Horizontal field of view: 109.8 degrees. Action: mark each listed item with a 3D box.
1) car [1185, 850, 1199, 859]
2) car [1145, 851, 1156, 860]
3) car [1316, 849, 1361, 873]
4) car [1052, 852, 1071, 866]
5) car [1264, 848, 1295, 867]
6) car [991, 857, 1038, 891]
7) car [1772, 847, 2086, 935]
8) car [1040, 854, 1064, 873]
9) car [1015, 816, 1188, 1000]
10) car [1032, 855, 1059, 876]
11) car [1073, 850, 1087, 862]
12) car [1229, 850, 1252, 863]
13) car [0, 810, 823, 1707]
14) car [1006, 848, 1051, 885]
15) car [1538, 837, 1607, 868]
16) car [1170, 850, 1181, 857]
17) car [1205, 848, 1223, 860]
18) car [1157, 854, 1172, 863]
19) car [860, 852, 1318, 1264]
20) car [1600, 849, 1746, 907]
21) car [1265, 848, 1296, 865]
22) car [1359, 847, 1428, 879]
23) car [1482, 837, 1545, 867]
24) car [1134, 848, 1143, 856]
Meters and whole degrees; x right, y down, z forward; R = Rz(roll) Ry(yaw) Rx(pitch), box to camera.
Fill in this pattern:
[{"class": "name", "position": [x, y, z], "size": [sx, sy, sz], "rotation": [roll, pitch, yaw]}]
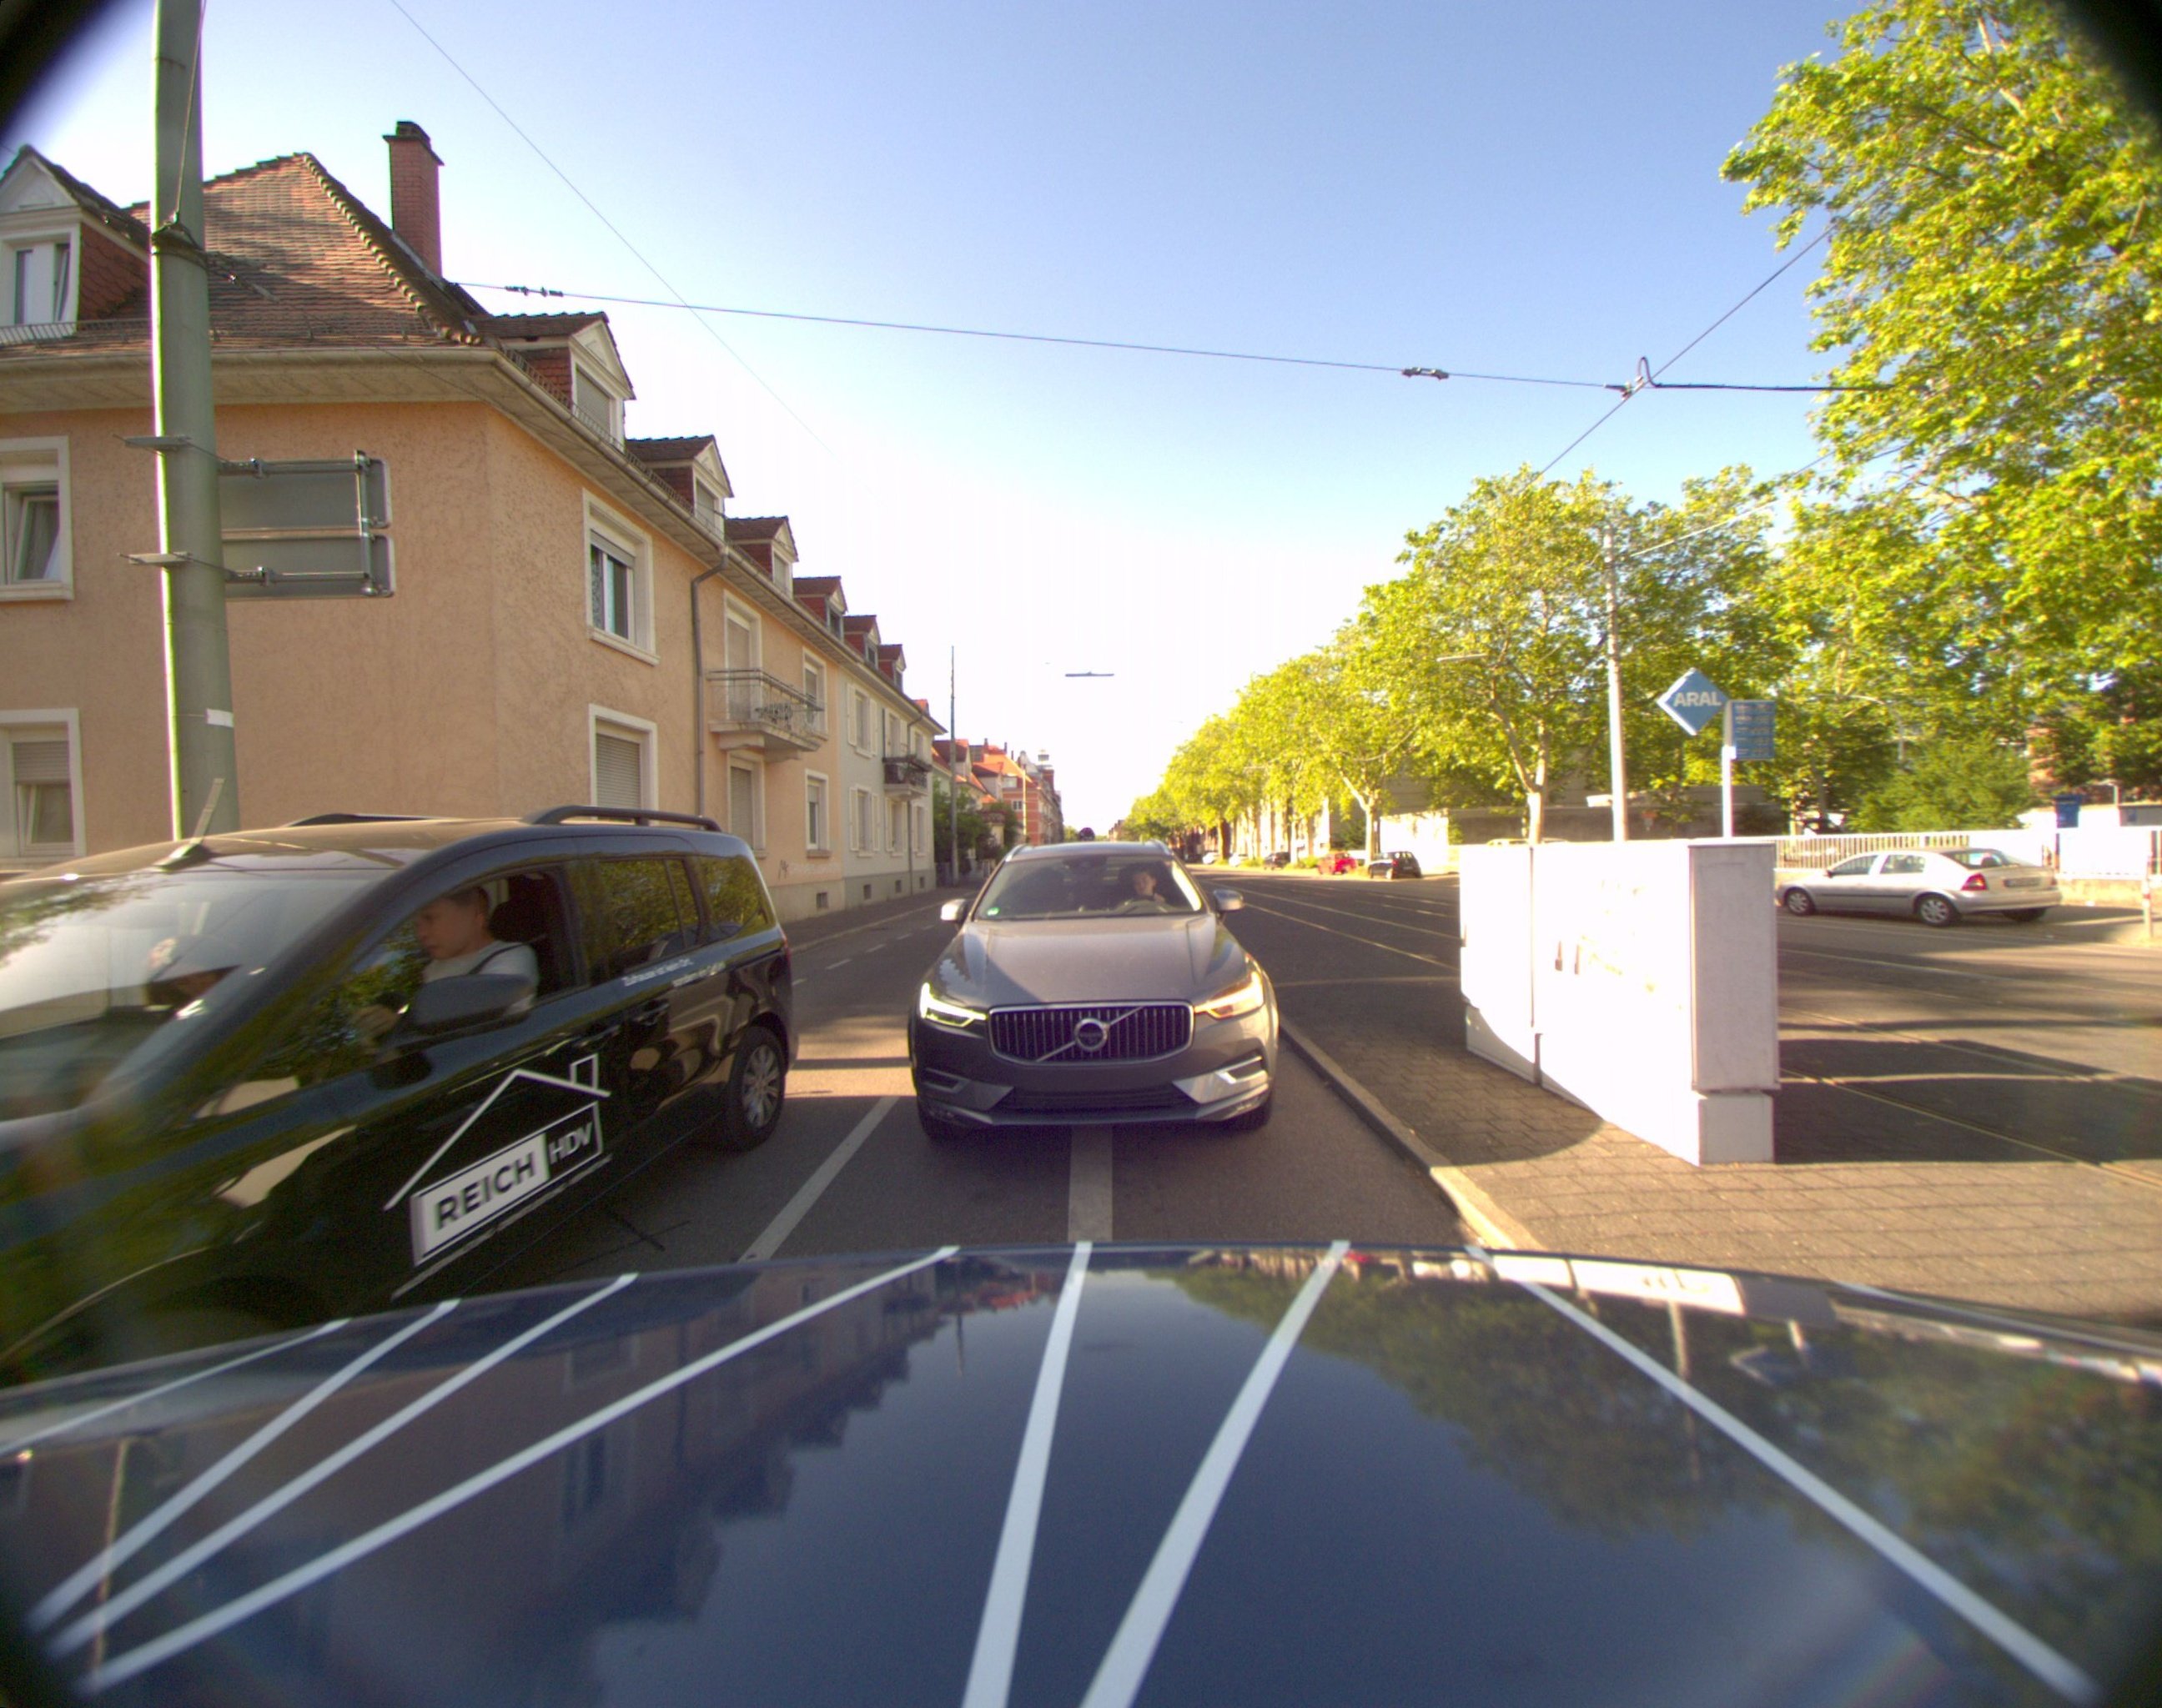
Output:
[{"class": "car", "position": [18.340, 0.021, 125.559], "size": [1.700, 1.401, 3.999], "rotation": [-1, 1, 1]}, {"class": "car", "position": [14.226, 0.257, 156.198], "size": [1.700, 1.412, 3.999], "rotation": [12, 1, 1]}, {"class": "car", "position": [17.002, 0.442, 50.354], "size": [1.700, 1.460, 3.999], "rotation": [-1, 1, 1]}, {"class": "car", "position": [-2.176, 0.582, 85.436], "size": [1.841, 1.449, 3.999], "rotation": [-2, 1, 1]}, {"class": "car", "position": [17.174, 0.318, 65.994], "size": [1.700, 1.566, 3.999], "rotation": [-1, 1, 1]}, {"class": "car", "position": [-3.185, 0.934, 36.949], "size": [1.841, 1.449, 3.999], "rotation": [-2, 1, 1]}, {"class": "car", "position": [16.266, 0.615, 14.939], "size": [1.731, 1.412, 3.999], "rotation": [-2, 1, 1]}, {"class": "car", "position": [-2.525, 0.802, 66.998], "size": [1.841, 1.449, 3.999], "rotation": [-2, 1, 1]}, {"class": "car", "position": [0.242, 0.596, 11.122], "size": [1.912, 2.048, 4.763], "rotation": [-2, 1, 0]}, {"class": "car", "position": [-2.821, 0.885, 60.589], "size": [1.841, 1.449, 3.999], "rotation": [-2, 1, 1]}, {"class": "car", "position": [-0.152, 0.269, 106.488], "size": [1.841, 1.449, 3.999], "rotation": [-2, 1, 1]}, {"class": "car", "position": [17.523, 0.249, 83.521], "size": [1.700, 1.401, 3.999], "rotation": [-1, 1, 1]}, {"class": "car", "position": [-2.766, 0.838, 2.804], "size": [1.866, 1.794, 4.778], "rotation": [-2, 1, 1]}, {"class": "car", "position": [-2.903, 0.632, 43.779], "size": [1.937, 1.888, 7.210], "rotation": [-2, 1, 1]}, {"class": "car", "position": [24.280, -0.099, 37.647], "size": [1.545, 1.412, 3.151], "rotation": [-2, 1, 4]}, {"class": "car", "position": [18.596, -0.076, 149.515], "size": [1.700, 1.401, 3.999], "rotation": [-1, 1, 1]}, {"class": "car", "position": [17.670, 0.006, 100.782], "size": [1.700, 1.548, 3.999], "rotation": [-1, 1, 1]}, {"class": "car", "position": [14.349, 0.786, 130.879], "size": [1.912, 1.514, 4.763], "rotation": [0, 1, 0]}, {"class": "car", "position": [0.043, 0.877, 5.653], "size": [1.912, 1.666, 4.763], "rotation": [-2, 1, 0]}, {"class": "car", "position": [16.404, 0.605, 21.243], "size": [1.546, 1.412, 3.254], "rotation": [-2, 1, 1]}, {"class": "car", "position": [17.291, 0.226, 65.913], "size": [1.700, 1.401, 3.999], "rotation": [-1, 1, 1]}, {"class": "car", "position": [16.854, 0.441, 41.254], "size": [1.753, 1.514, 4.434], "rotation": [-5, 1, -1]}, {"class": "car", "position": [21.721, -0.113, 38.285], "size": [1.545, 1.412, 3.151], "rotation": [-2, 1, 4]}, {"class": "car", "position": [14.709, -0.507, 192.978], "size": [1.850, 1.835, 4.394], "rotation": [-1, 1, -1]}]
